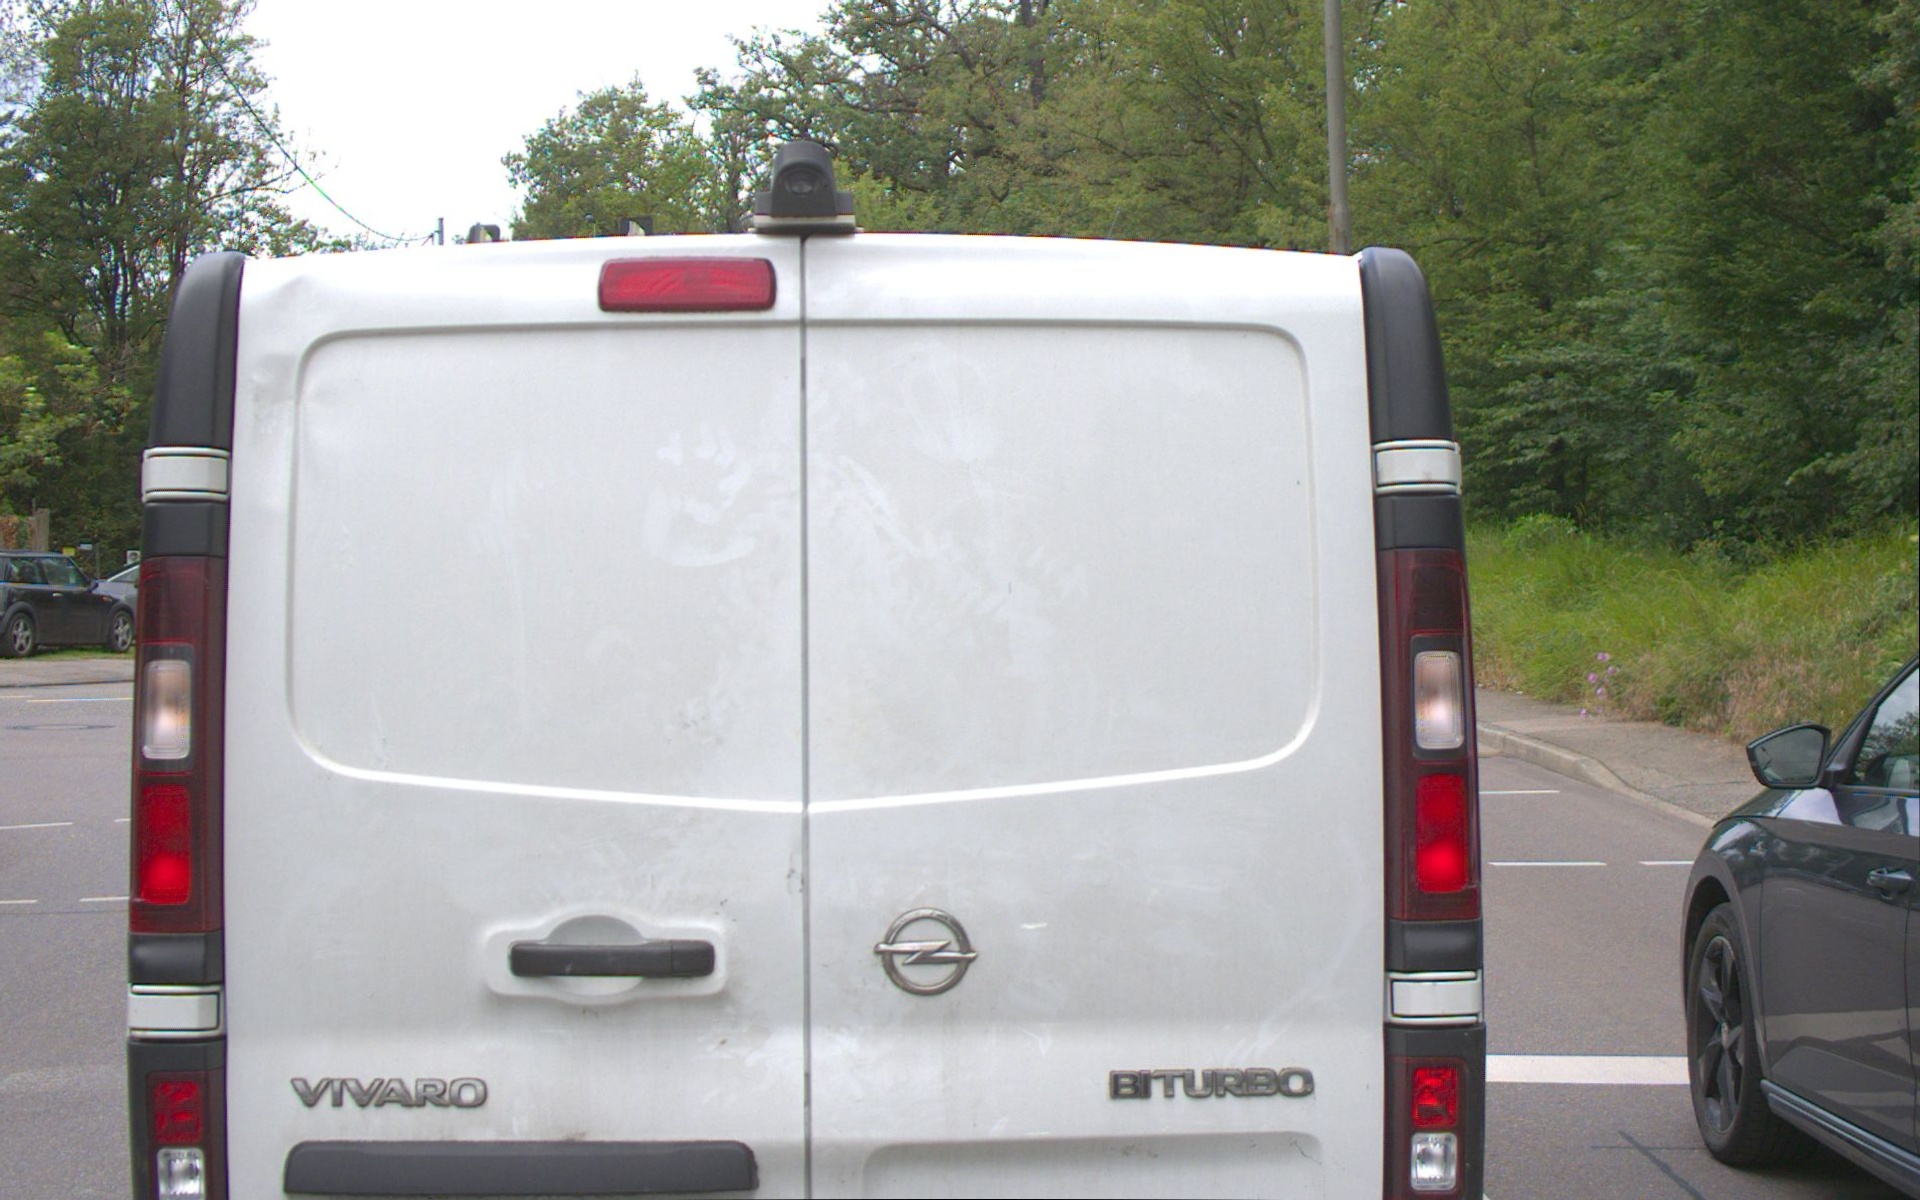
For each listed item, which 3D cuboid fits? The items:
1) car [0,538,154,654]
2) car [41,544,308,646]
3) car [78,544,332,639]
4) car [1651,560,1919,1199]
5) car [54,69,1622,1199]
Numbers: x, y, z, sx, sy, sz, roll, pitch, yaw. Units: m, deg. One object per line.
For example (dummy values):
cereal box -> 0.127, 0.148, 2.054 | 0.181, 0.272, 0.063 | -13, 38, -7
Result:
car -> -12.432, -0.079, 45.621 | 1.699, 1.444, 3.540 | 2, 1, 19
car -> -12.762, -0.104, 55.797 | 4.085, 1.548, 1.855 | -1, 2, -17
car -> -12.954, -0.167, 58.944 | 4.085, 1.548, 1.855 | -1, 2, -17
car -> 2.698, 0.664, 6.683 | 1.792, 1.445, 4.001 | 0, 1, -2
car -> -0.264, 0.344, 6.577 | 1.916, 2.046, 4.615 | 1, 1, -3
